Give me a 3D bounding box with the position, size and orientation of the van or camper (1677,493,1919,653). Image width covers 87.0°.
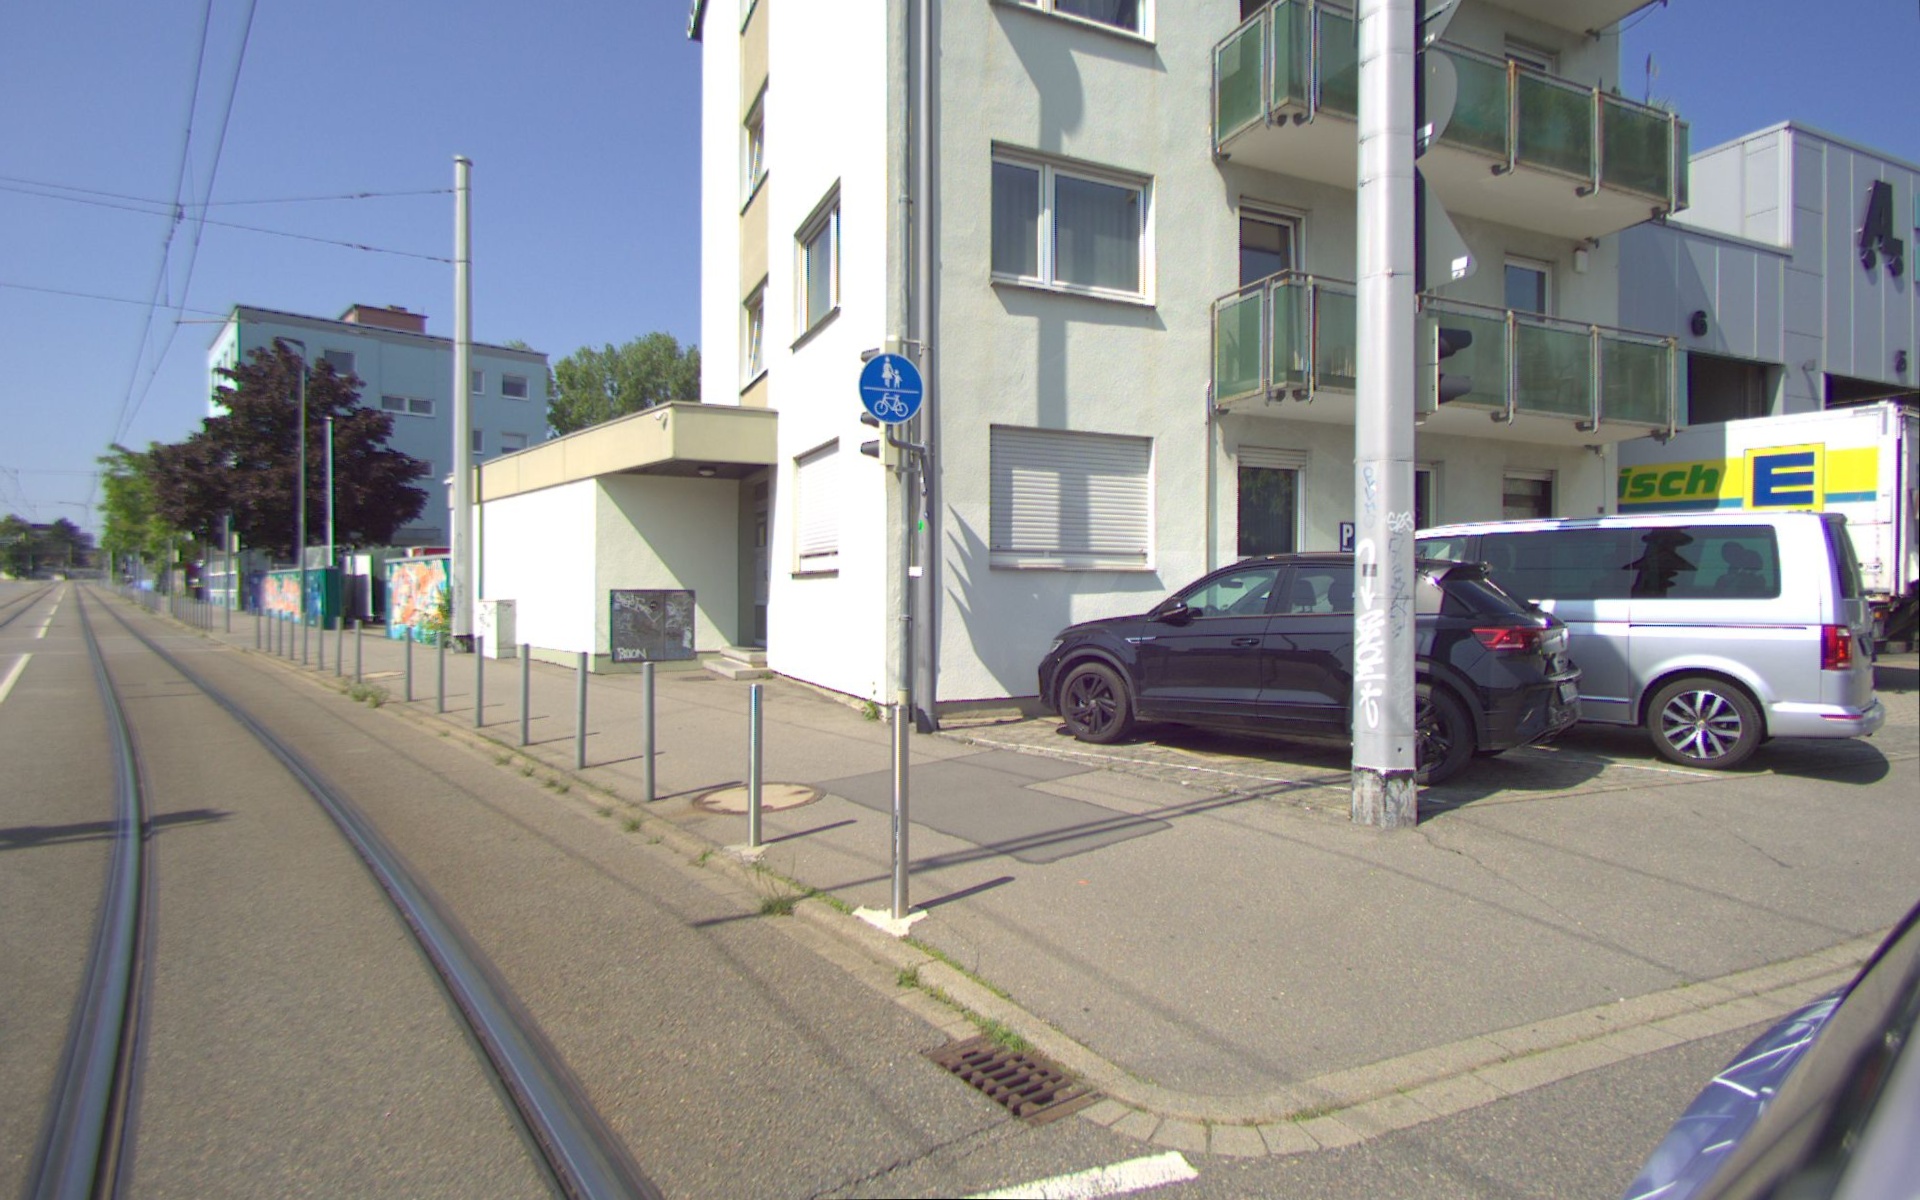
[{"bbox_3d":[19.575,-0.573,22.947,1.959,3.246,5.067,-1,0,-25],"label":"van or camper"}]

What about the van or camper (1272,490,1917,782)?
[{"bbox_3d":[5.359,0.182,9.044,1.967,1.932,4.545,0,1,-44],"label":"van or camper"}]

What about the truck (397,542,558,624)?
[{"bbox_3d":[-16.798,-0.591,35.300,4.744,2.659,2.188,-1,1,-37],"label":"truck"}]

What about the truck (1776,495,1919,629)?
[{"bbox_3d":[28.731,-1.086,29.128,2.570,3.829,7.877,0,1,-23],"label":"truck"}]

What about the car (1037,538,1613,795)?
[{"bbox_3d":[2.743,0.364,8.092,3.958,1.540,1.852,1,1,42],"label":"car"}]

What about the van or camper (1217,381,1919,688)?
[{"bbox_3d":[9.854,-0.909,17.906,2.727,3.739,11.646,0,1,-32],"label":"van or camper"}]
